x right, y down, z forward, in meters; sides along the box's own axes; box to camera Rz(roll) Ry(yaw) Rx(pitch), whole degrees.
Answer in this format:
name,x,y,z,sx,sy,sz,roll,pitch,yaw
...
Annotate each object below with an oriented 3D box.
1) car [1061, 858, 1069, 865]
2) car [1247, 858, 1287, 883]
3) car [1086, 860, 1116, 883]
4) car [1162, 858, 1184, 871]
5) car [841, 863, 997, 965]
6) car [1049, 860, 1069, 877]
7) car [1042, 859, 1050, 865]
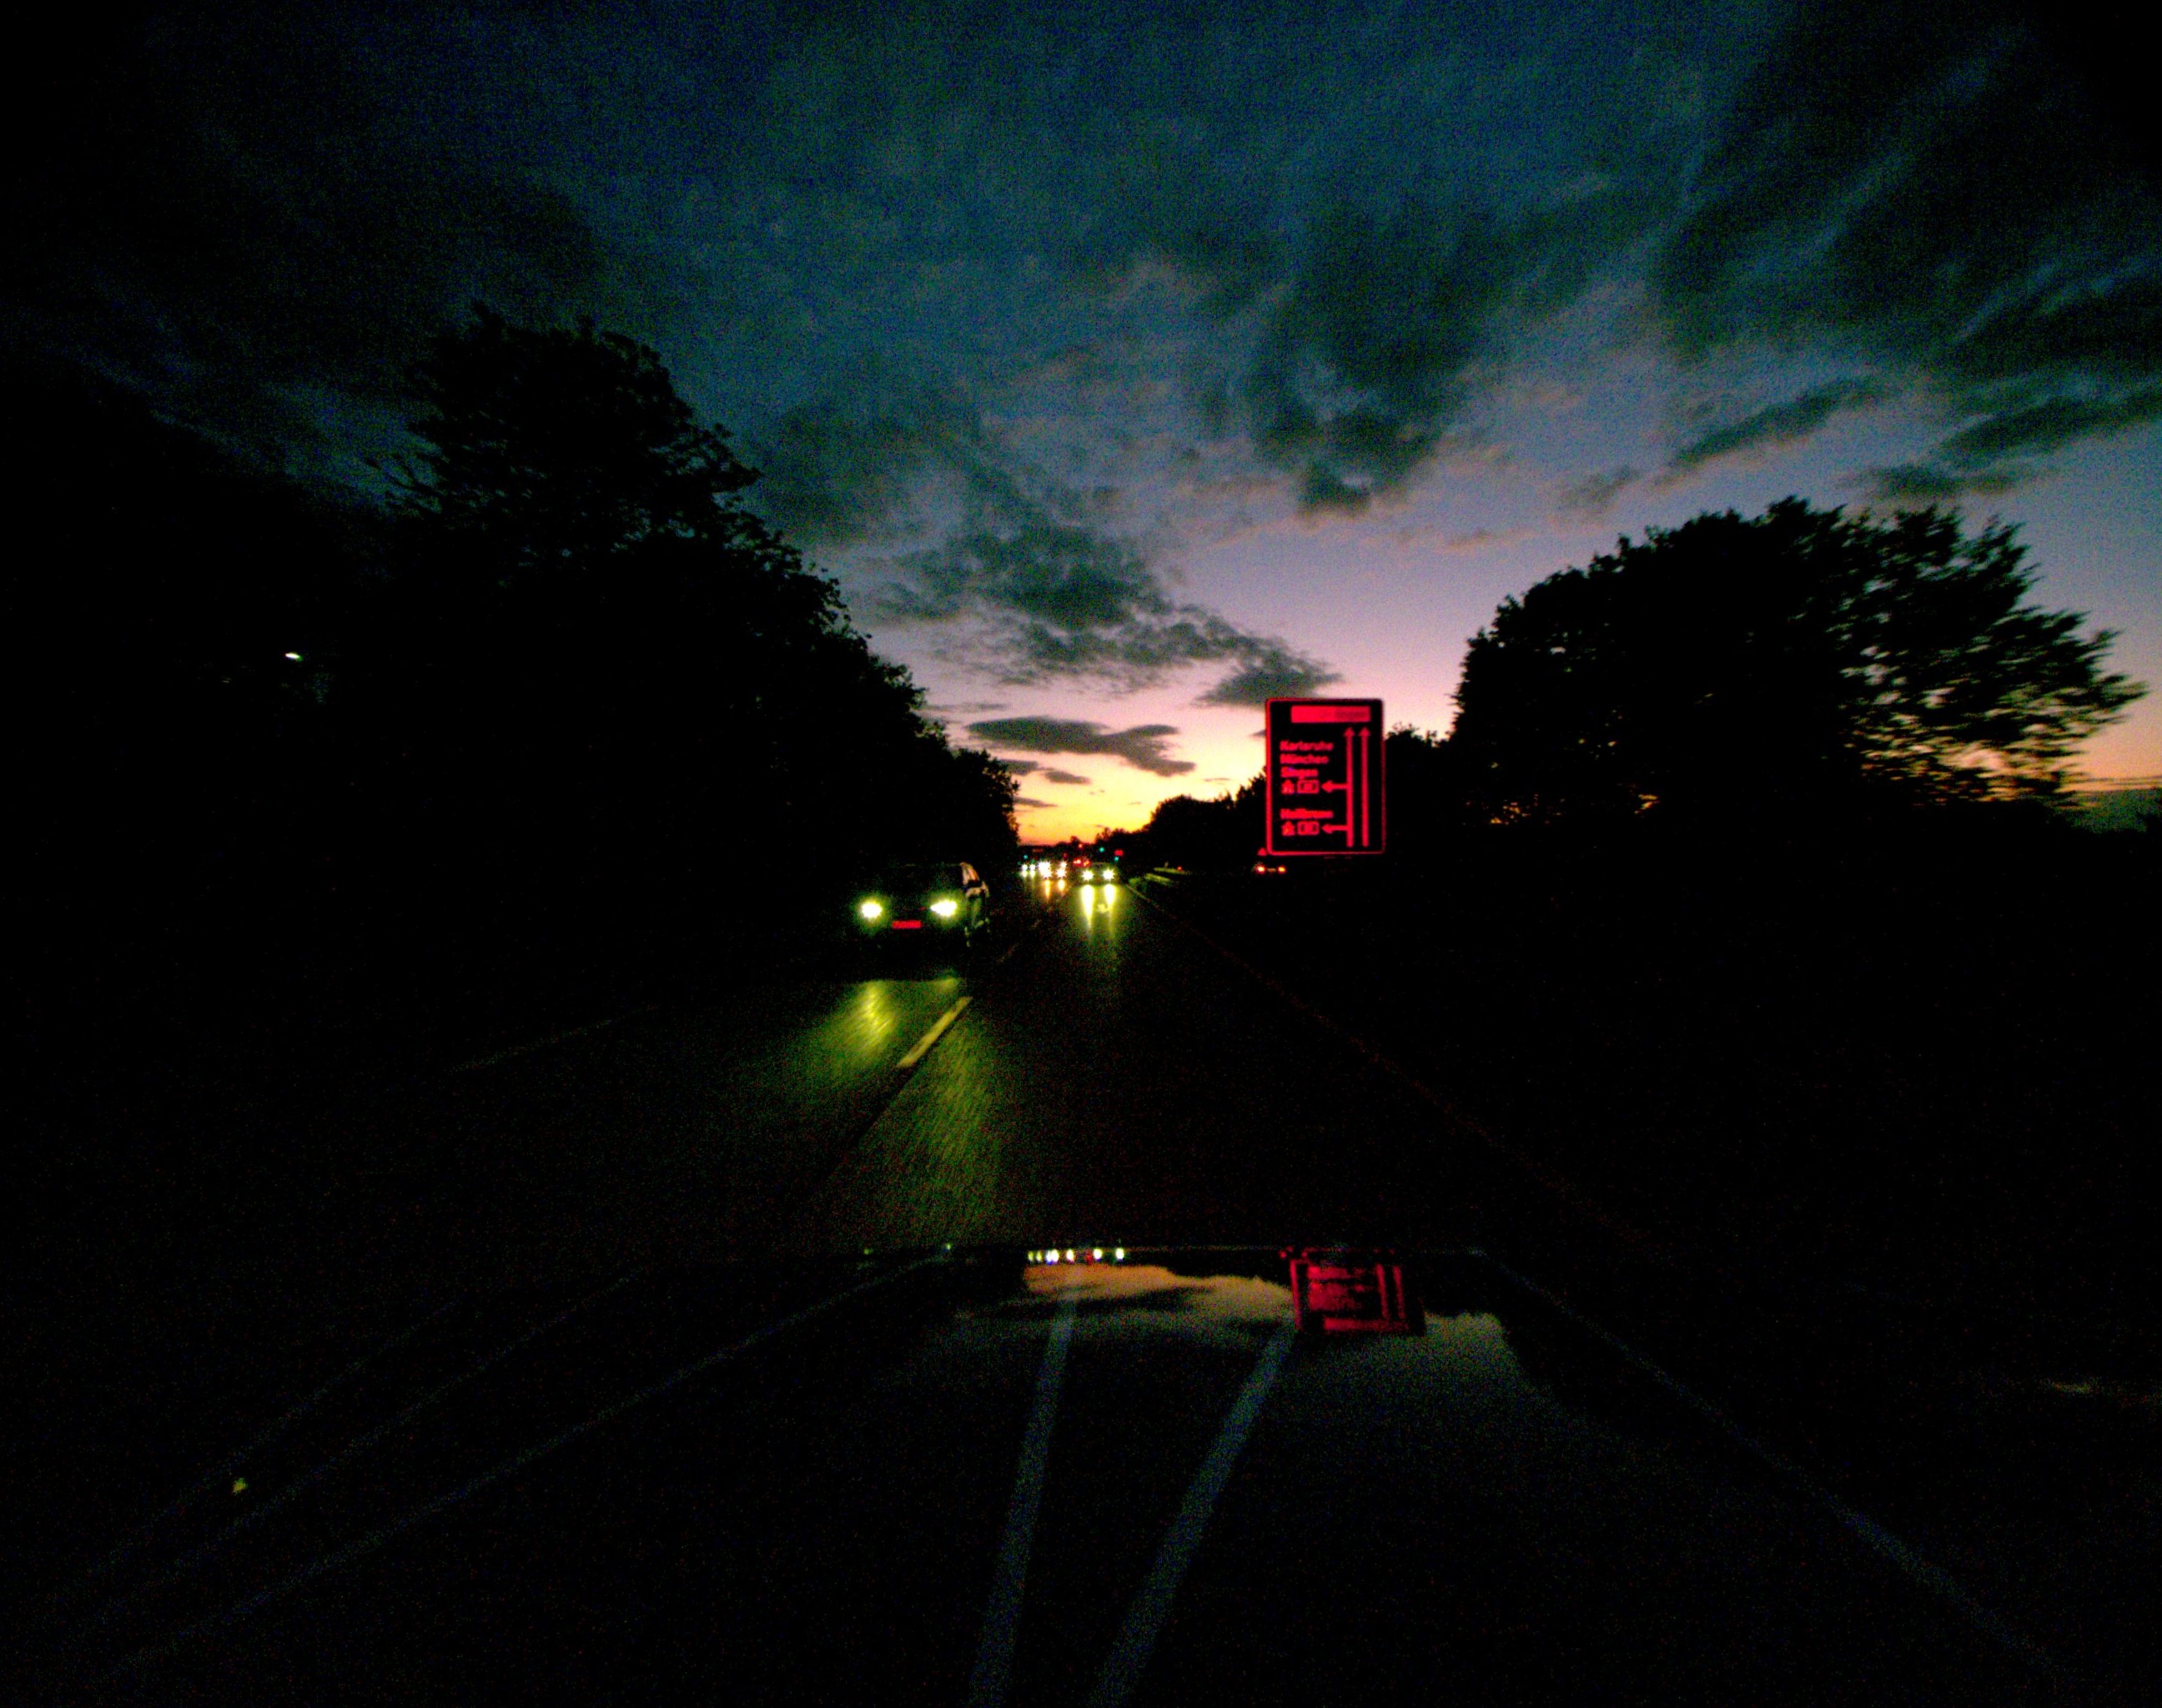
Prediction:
name,x,y,z,sx,sy,sz,roll,pitch,yaw
car,-4.054,1.832,189.009,1.999,1.602,4.501,-1,0,-1
car,13.296,1.146,54.540,1.799,1.661,4.502,-1,0,1
car,1.339,1.209,53.148,1.901,1.472,4.514,-2,0,0
car,10.556,1.226,87.408,1.926,1.423,4.501,0,0,-1
car,-2.980,1.038,15.105,1.998,1.600,4.712,-2,0,1
car,-2.057,1.359,71.689,1.624,1.460,3.871,-2,0,1
car,-9.464,2.216,207.414,1.999,1.423,4.501,0,0,-1
